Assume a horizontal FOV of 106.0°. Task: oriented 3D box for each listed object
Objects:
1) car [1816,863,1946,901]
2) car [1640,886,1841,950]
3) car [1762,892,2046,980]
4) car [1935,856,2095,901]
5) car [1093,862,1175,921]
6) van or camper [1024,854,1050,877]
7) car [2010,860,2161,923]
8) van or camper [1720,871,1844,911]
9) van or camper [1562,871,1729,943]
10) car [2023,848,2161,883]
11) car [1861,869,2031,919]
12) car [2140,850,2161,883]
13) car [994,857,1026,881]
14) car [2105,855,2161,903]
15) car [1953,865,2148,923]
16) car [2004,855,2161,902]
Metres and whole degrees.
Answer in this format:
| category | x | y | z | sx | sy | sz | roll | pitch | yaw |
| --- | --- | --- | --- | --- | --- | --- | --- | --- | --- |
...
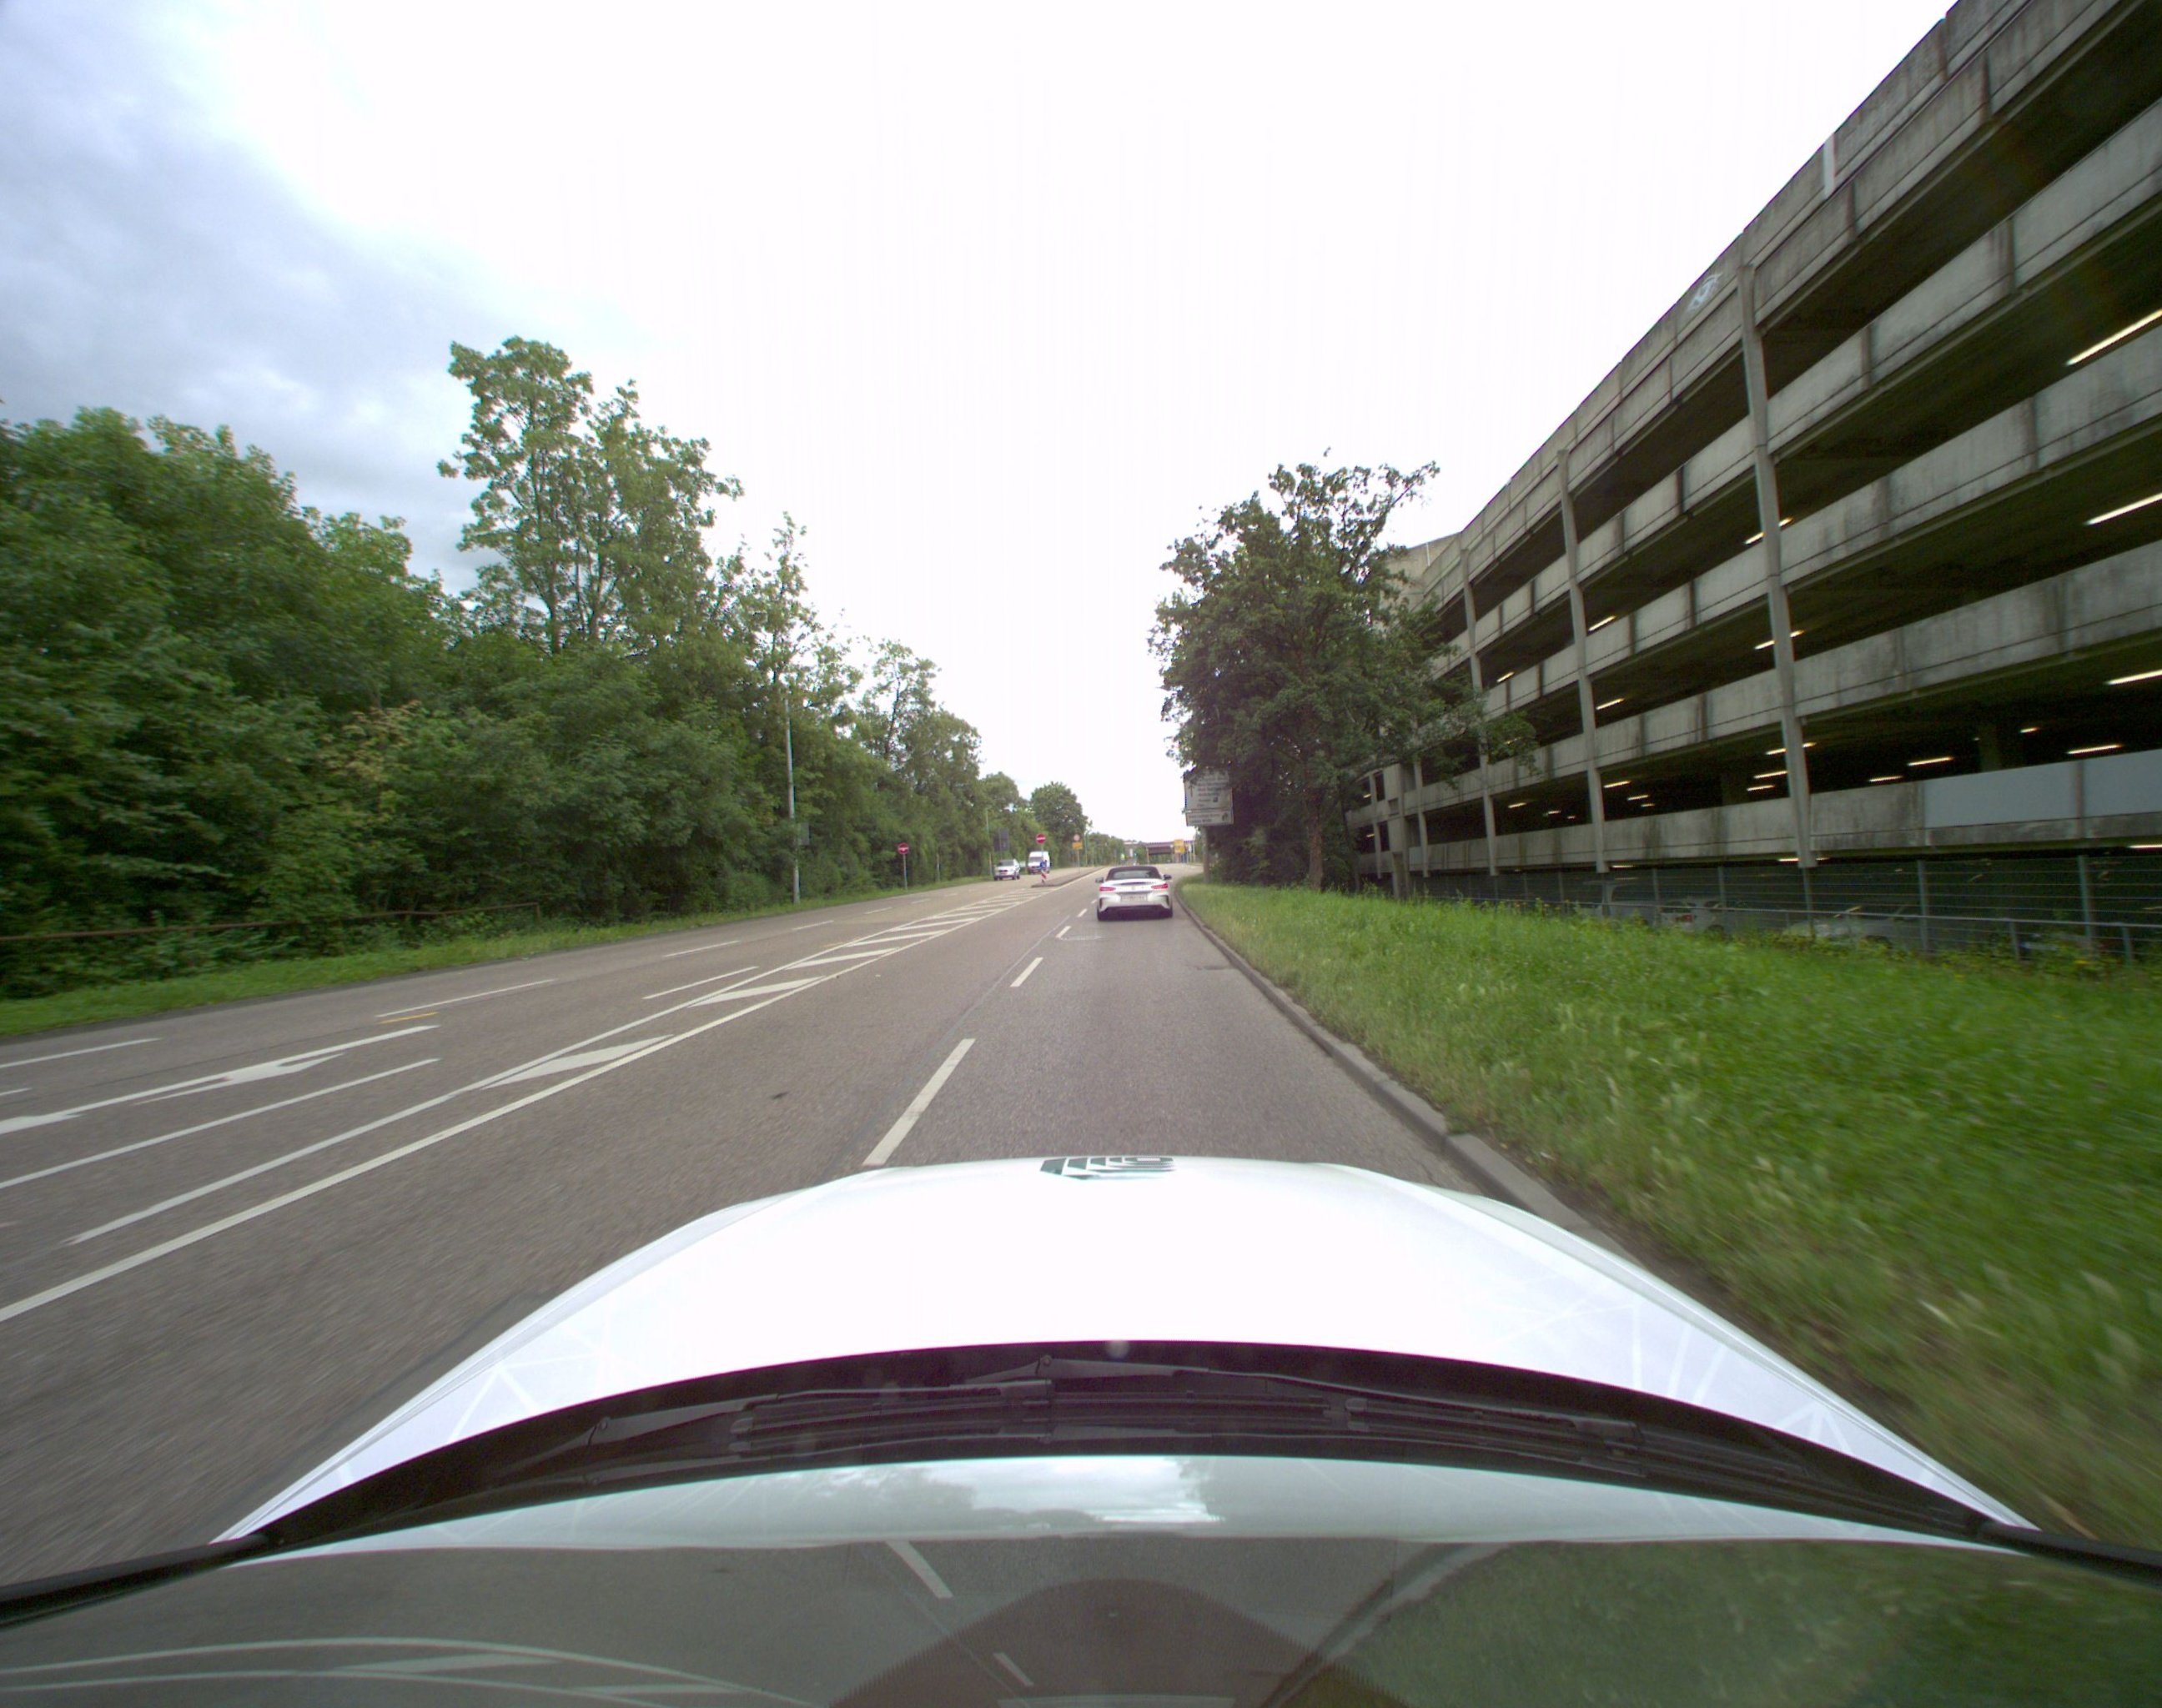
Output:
| category | x | y | z | sx | sy | sz | roll | pitch | yaw |
| --- | --- | --- | --- | --- | --- | --- | --- | --- | --- |
| car | 34.524 | 1.230 | 35.236 | 3.677 | 1.307 | 1.789 | -5 | -3 | 2 |
| car | 18.538 | 1.777 | 23.059 | 3.991 | 1.436 | 1.949 | -4 | -3 | 1 |
| car | 18.214 | 1.782 | 18.199 | 4.240 | 1.506 | 1.949 | -4 | -3 | 1 |
| car | 34.475 | 0.917 | 30.147 | 3.677 | 1.307 | 1.789 | -5 | -3 | 2 |
| car | 1.386 | 0.924 | 21.261 | 1.867 | 1.309 | 3.877 | -3 | -1 | 4 |
| van or camper | -5.079 | 1.328 | 95.004 | 2.273 | 2.555 | 6.864 | -2 | -1 | 3 |
| car | 28.680 | 1.020 | 22.653 | 3.650 | 1.441 | 1.673 | -4 | -3 | 0 |
| van or camper | 30.312 | 1.583 | 35.312 | 3.697 | 1.409 | 1.728 | -4 | -2 | 3 |
| van or camper | 18.203 | 1.684 | 26.422 | 3.991 | 1.954 | 1.840 | -4 | -2 | 1 |
| car | 46.156 | 0.522 | 37.132 | 3.968 | 1.371 | 1.901 | -3 | -1 | 4 |
| car | 29.041 | 1.339 | 27.452 | 3.644 | 1.357 | 1.676 | -5 | -2 | 6 |
| car | 46.320 | 0.402 | 33.382 | 3.502 | 1.325 | 1.697 | -3 | -2 | 0 |
| car | -6.096 | 1.274 | 70.257 | 1.804 | 1.830 | 4.391 | -4 | 0 | 6 |
| car | 34.509 | 0.696 | 25.016 | 3.676 | 1.423 | 1.724 | -3 | -3 | 4 |
| car | 29.743 | 1.220 | 25.096 | 3.644 | 1.441 | 1.676 | -5 | -2 | 6 |
| car | 34.568 | 0.846 | 27.887 | 3.677 | 1.307 | 1.789 | -5 | -3 | 2 |
